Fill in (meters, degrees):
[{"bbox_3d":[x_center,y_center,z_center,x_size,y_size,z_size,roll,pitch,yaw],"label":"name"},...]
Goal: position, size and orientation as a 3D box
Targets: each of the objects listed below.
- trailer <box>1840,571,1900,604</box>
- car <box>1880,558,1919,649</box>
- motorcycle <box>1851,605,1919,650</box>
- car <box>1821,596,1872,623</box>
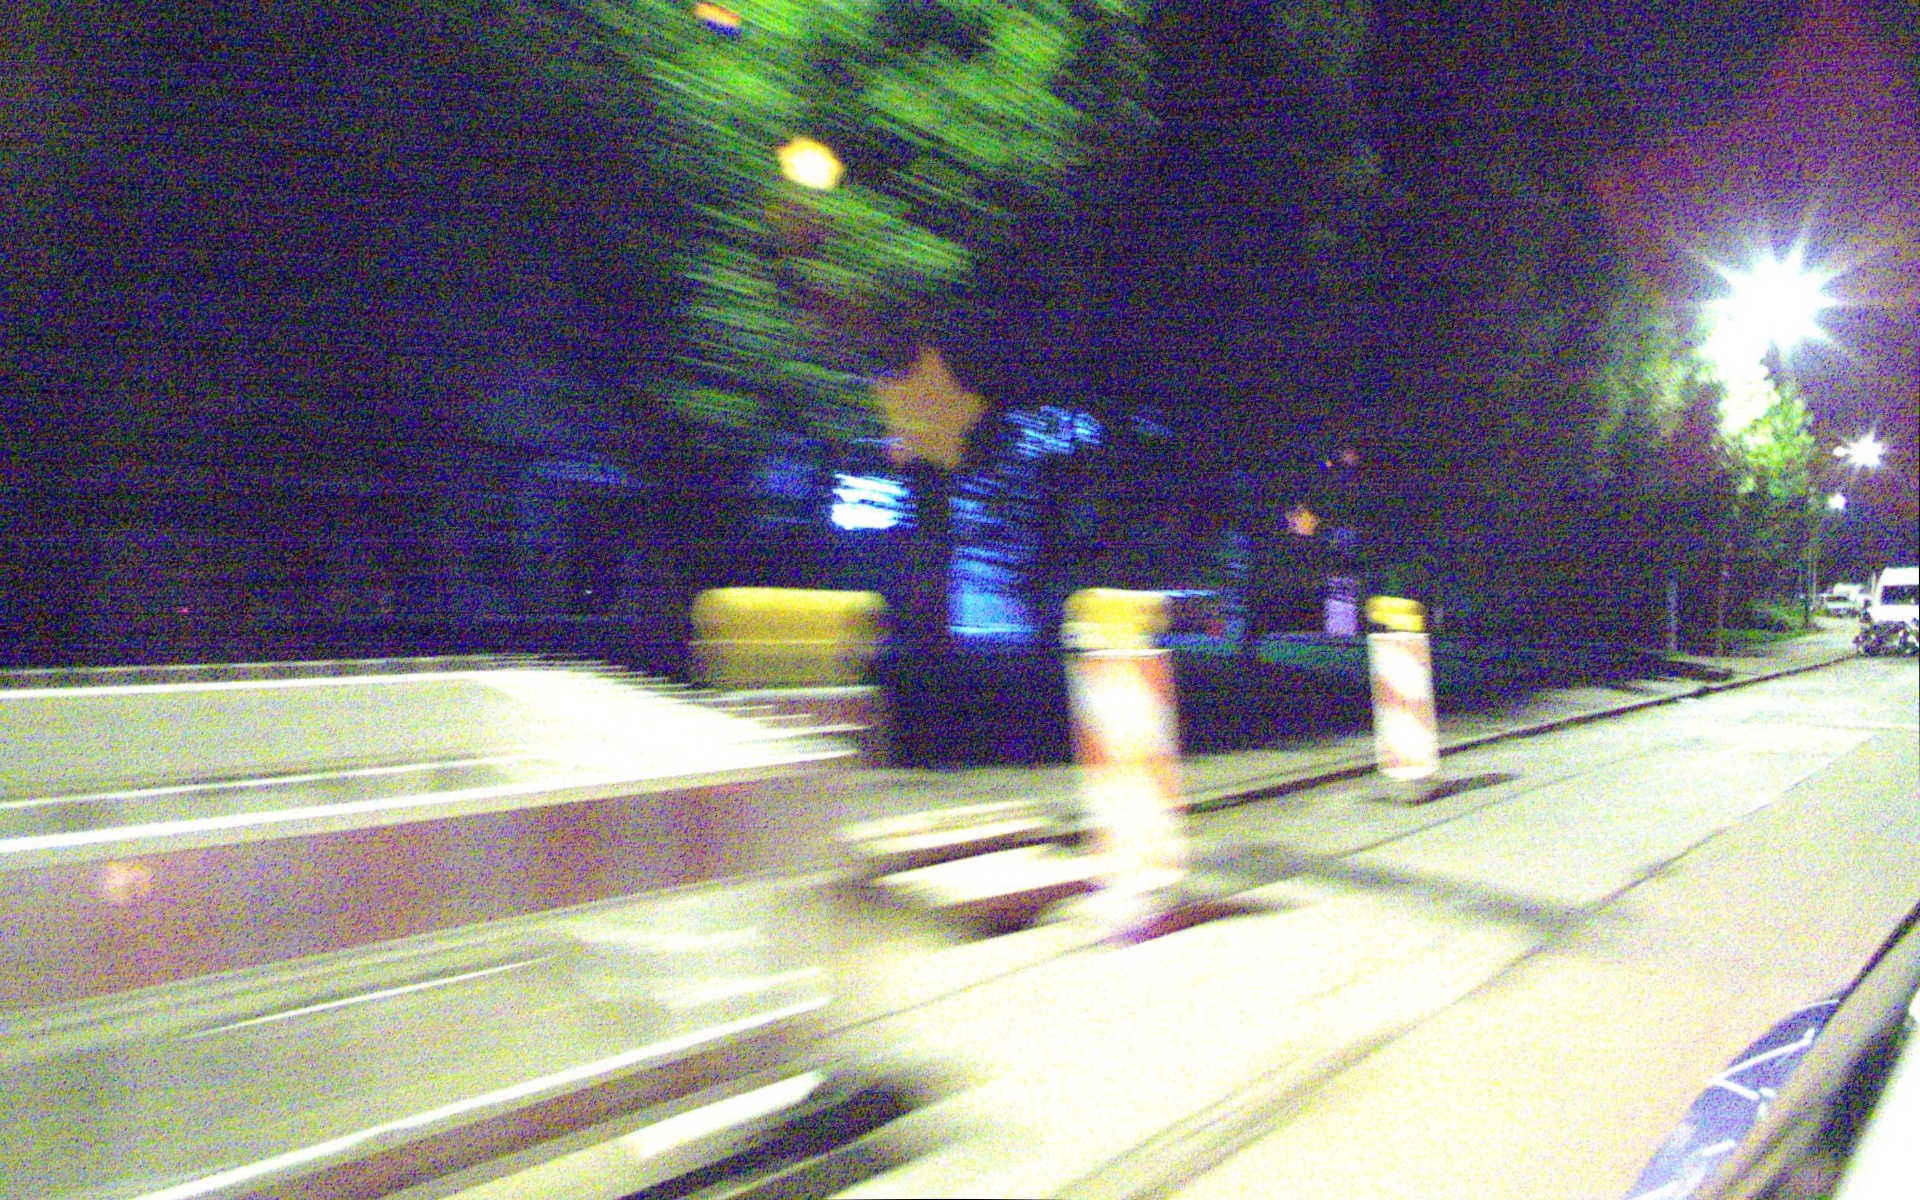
[{"bbox_3d":[89.974,-1.231,100.191,2.467,3.111,7.877,1,1,28],"label":"trailer"},{"bbox_3d":[29.346,0.086,30.310,5.947,2.558,2.023,0,0,-42],"label":"car"},{"bbox_3d":[25.972,0.736,27.826,0.753,1.198,2.189,0,0,-9],"label":"motorcycle"},{"bbox_3d":[70.489,0.712,80.580,1.983,2.039,5.298,-1,0,30],"label":"car"}]
